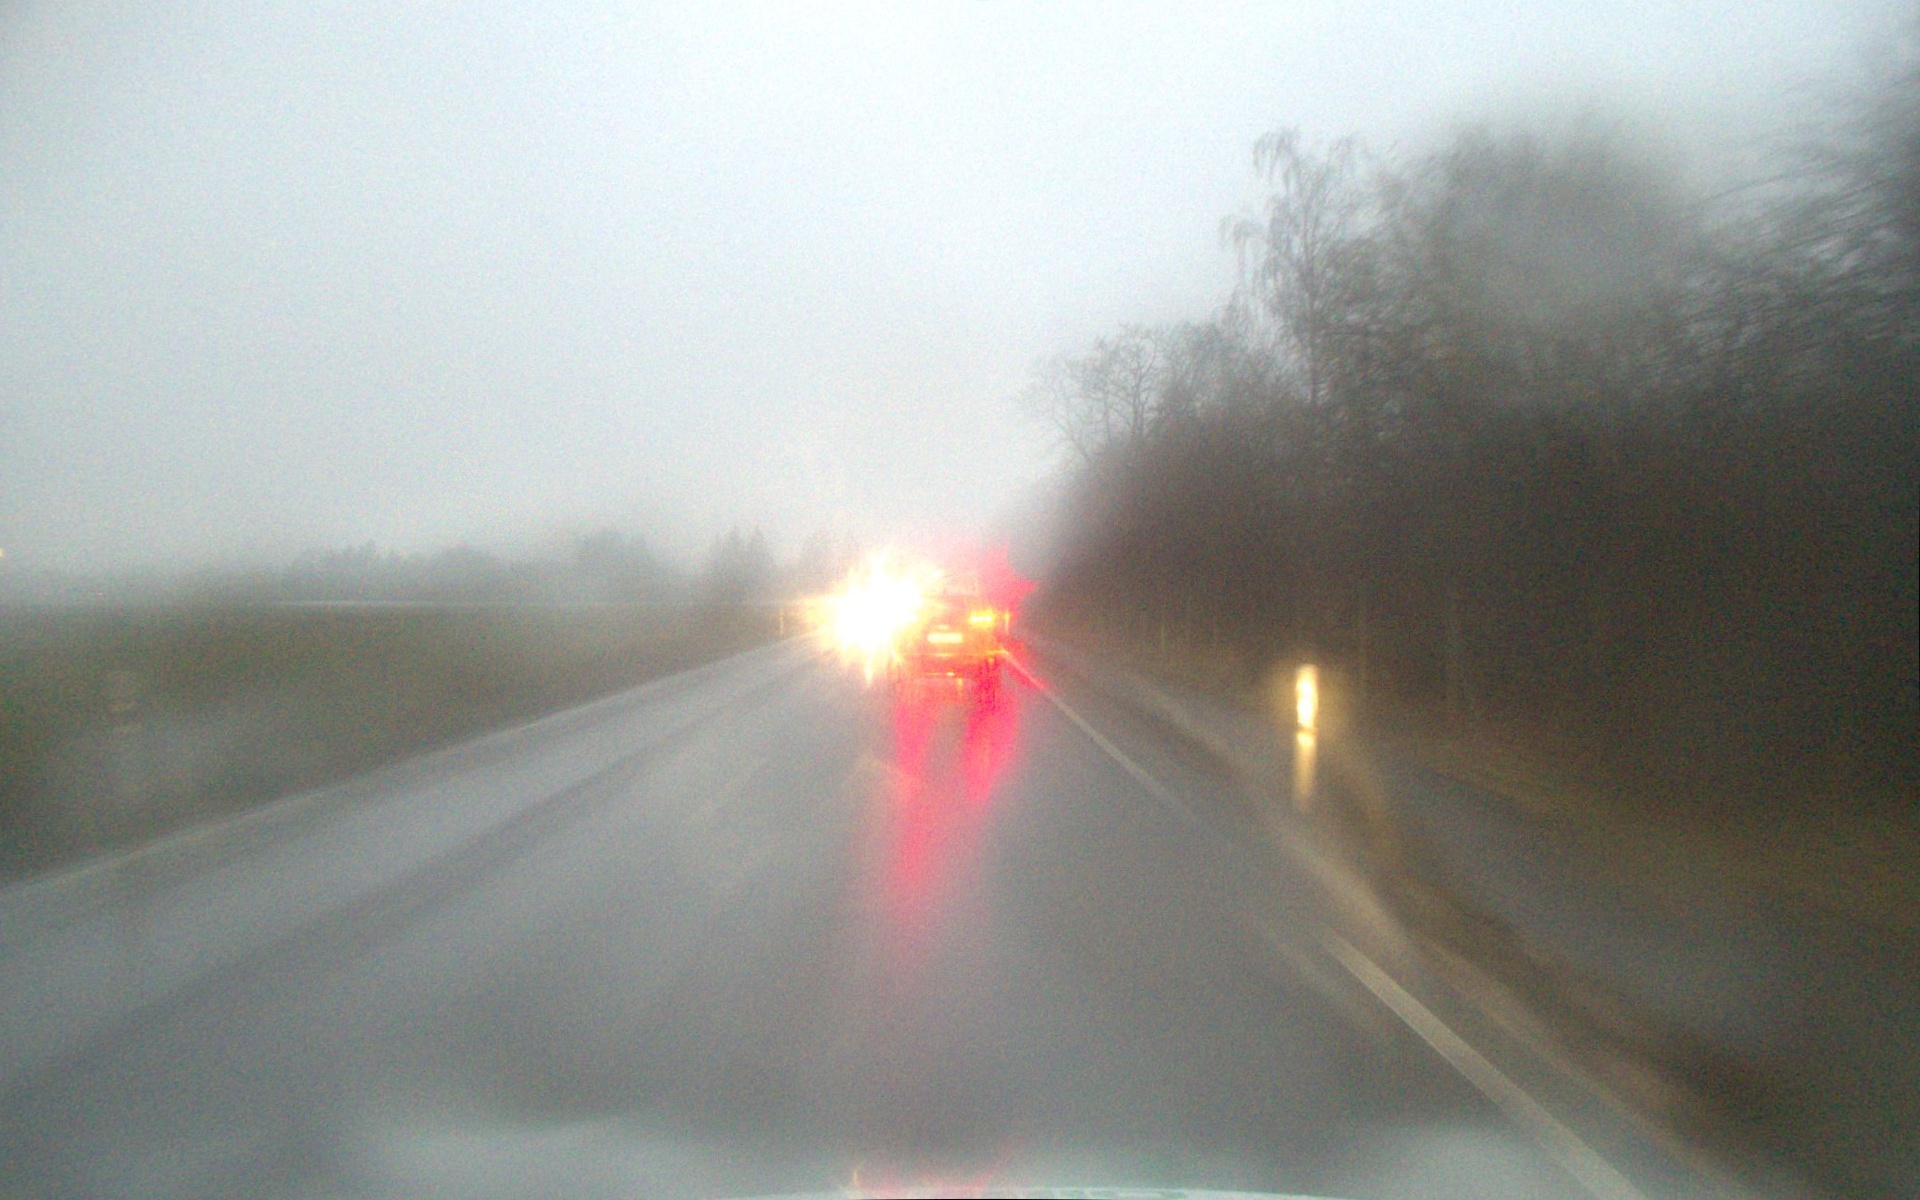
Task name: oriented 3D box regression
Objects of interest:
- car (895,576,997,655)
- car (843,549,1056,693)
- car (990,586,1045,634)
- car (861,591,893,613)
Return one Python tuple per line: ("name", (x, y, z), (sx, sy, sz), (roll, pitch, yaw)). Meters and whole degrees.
("car", (-0.413, 0.385, 47.234), (2.700, 2.071, 6.589), (-1, 0, -1))
("car", (-0.197, 0.288, 27.630), (3.100, 2.071, 6.850), (-1, 0, -1))
("car", (2.180, 0.376, 63.865), (1.889, 1.780, 3.999), (1, 0, -1))
("car", (-5.390, 0.145, 107.640), (1.953, 1.396, 4.397), (1, 0, -1))
